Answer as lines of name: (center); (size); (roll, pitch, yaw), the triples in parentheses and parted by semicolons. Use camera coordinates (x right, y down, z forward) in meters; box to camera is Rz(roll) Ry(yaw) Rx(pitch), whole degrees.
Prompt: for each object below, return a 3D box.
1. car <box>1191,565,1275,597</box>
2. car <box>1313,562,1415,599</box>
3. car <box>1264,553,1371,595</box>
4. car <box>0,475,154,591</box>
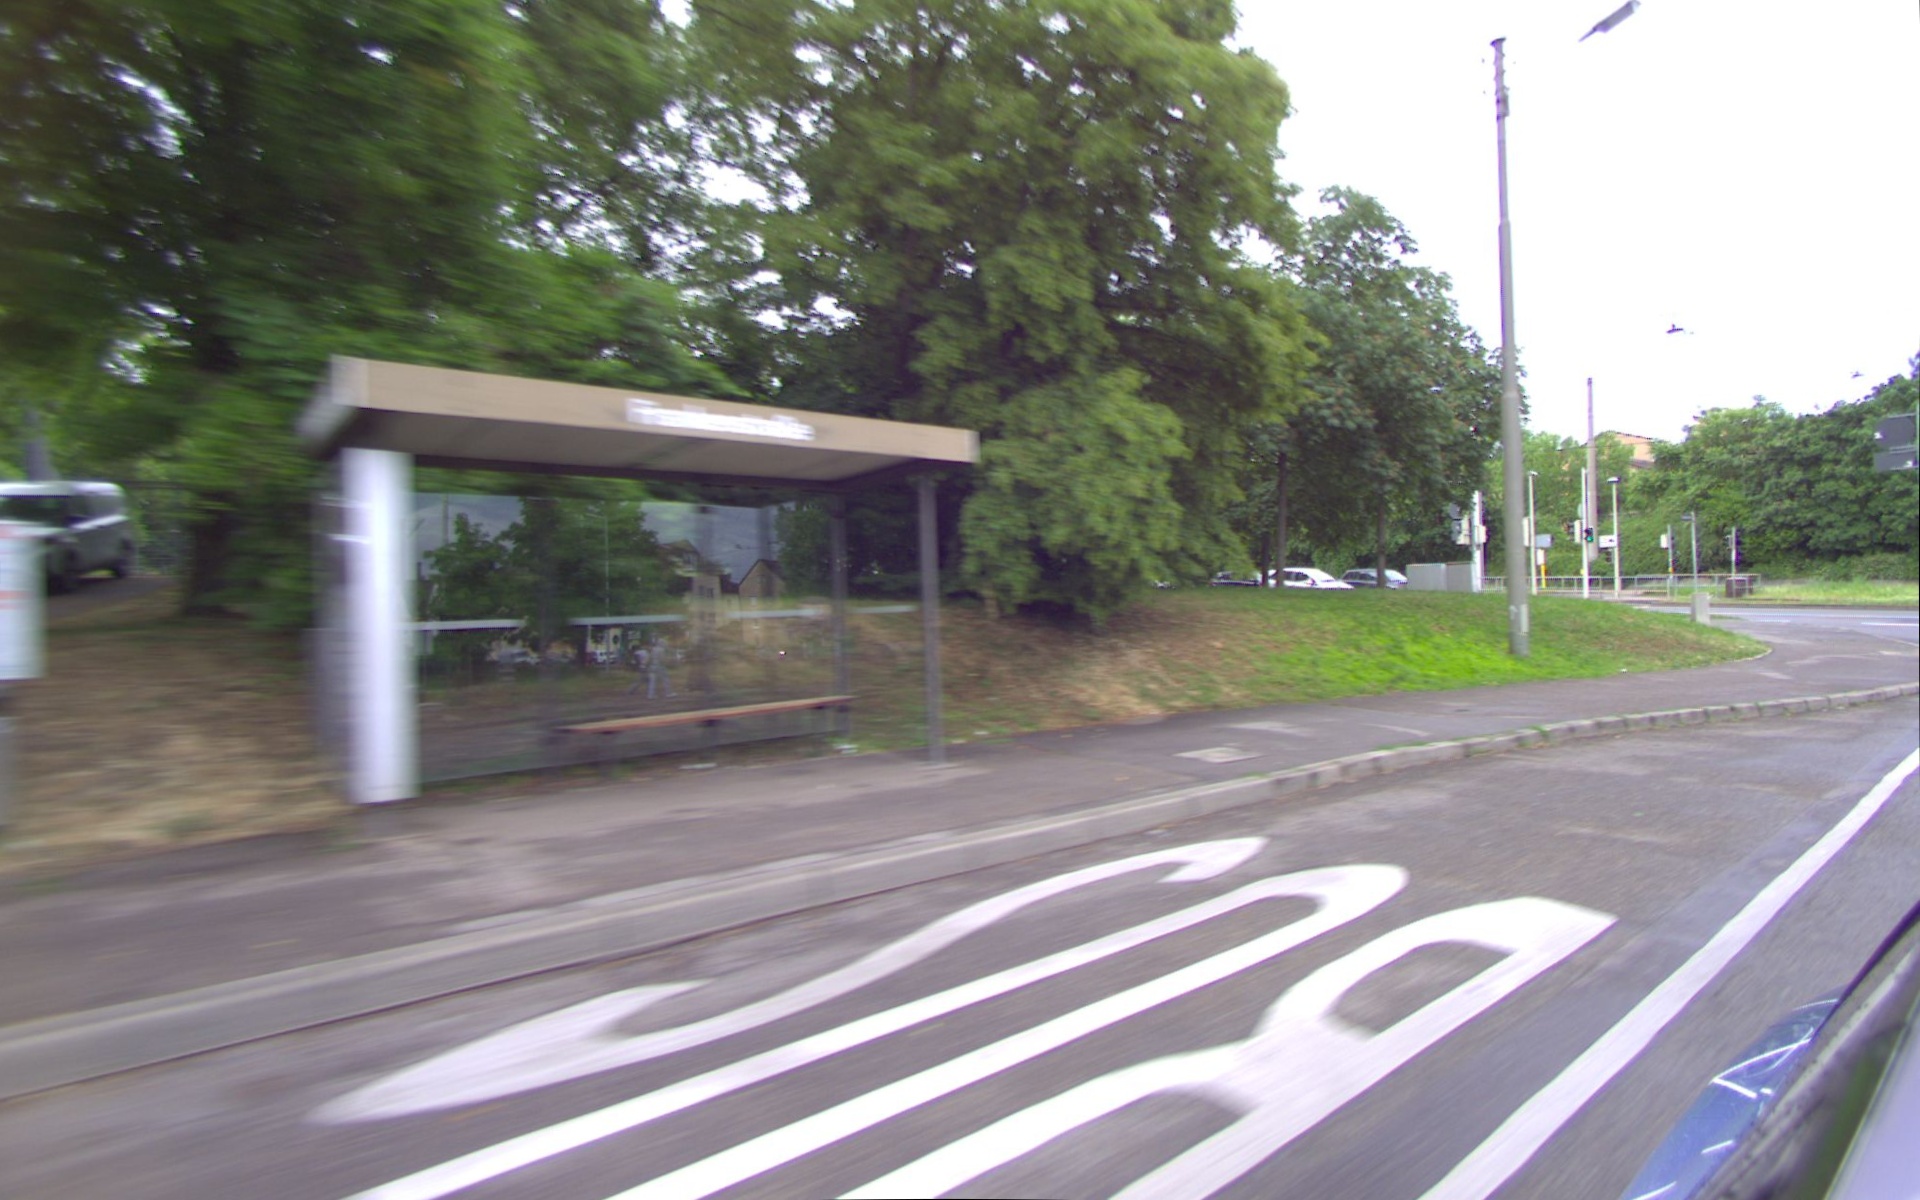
car: (13.129, -0.913, 48.800); (1.576, 1.419, 3.792); (-4, 3, -34)
car: (17.218, -0.827, 43.221); (1.576, 1.418, 3.792); (-4, 3, -34)
car: (14.652, -1.057, 41.684); (1.693, 1.572, 3.862); (-5, 3, -35)
car: (-15.999, -1.237, 17.578); (1.764, 1.800, 4.342); (0, 6, -20)
